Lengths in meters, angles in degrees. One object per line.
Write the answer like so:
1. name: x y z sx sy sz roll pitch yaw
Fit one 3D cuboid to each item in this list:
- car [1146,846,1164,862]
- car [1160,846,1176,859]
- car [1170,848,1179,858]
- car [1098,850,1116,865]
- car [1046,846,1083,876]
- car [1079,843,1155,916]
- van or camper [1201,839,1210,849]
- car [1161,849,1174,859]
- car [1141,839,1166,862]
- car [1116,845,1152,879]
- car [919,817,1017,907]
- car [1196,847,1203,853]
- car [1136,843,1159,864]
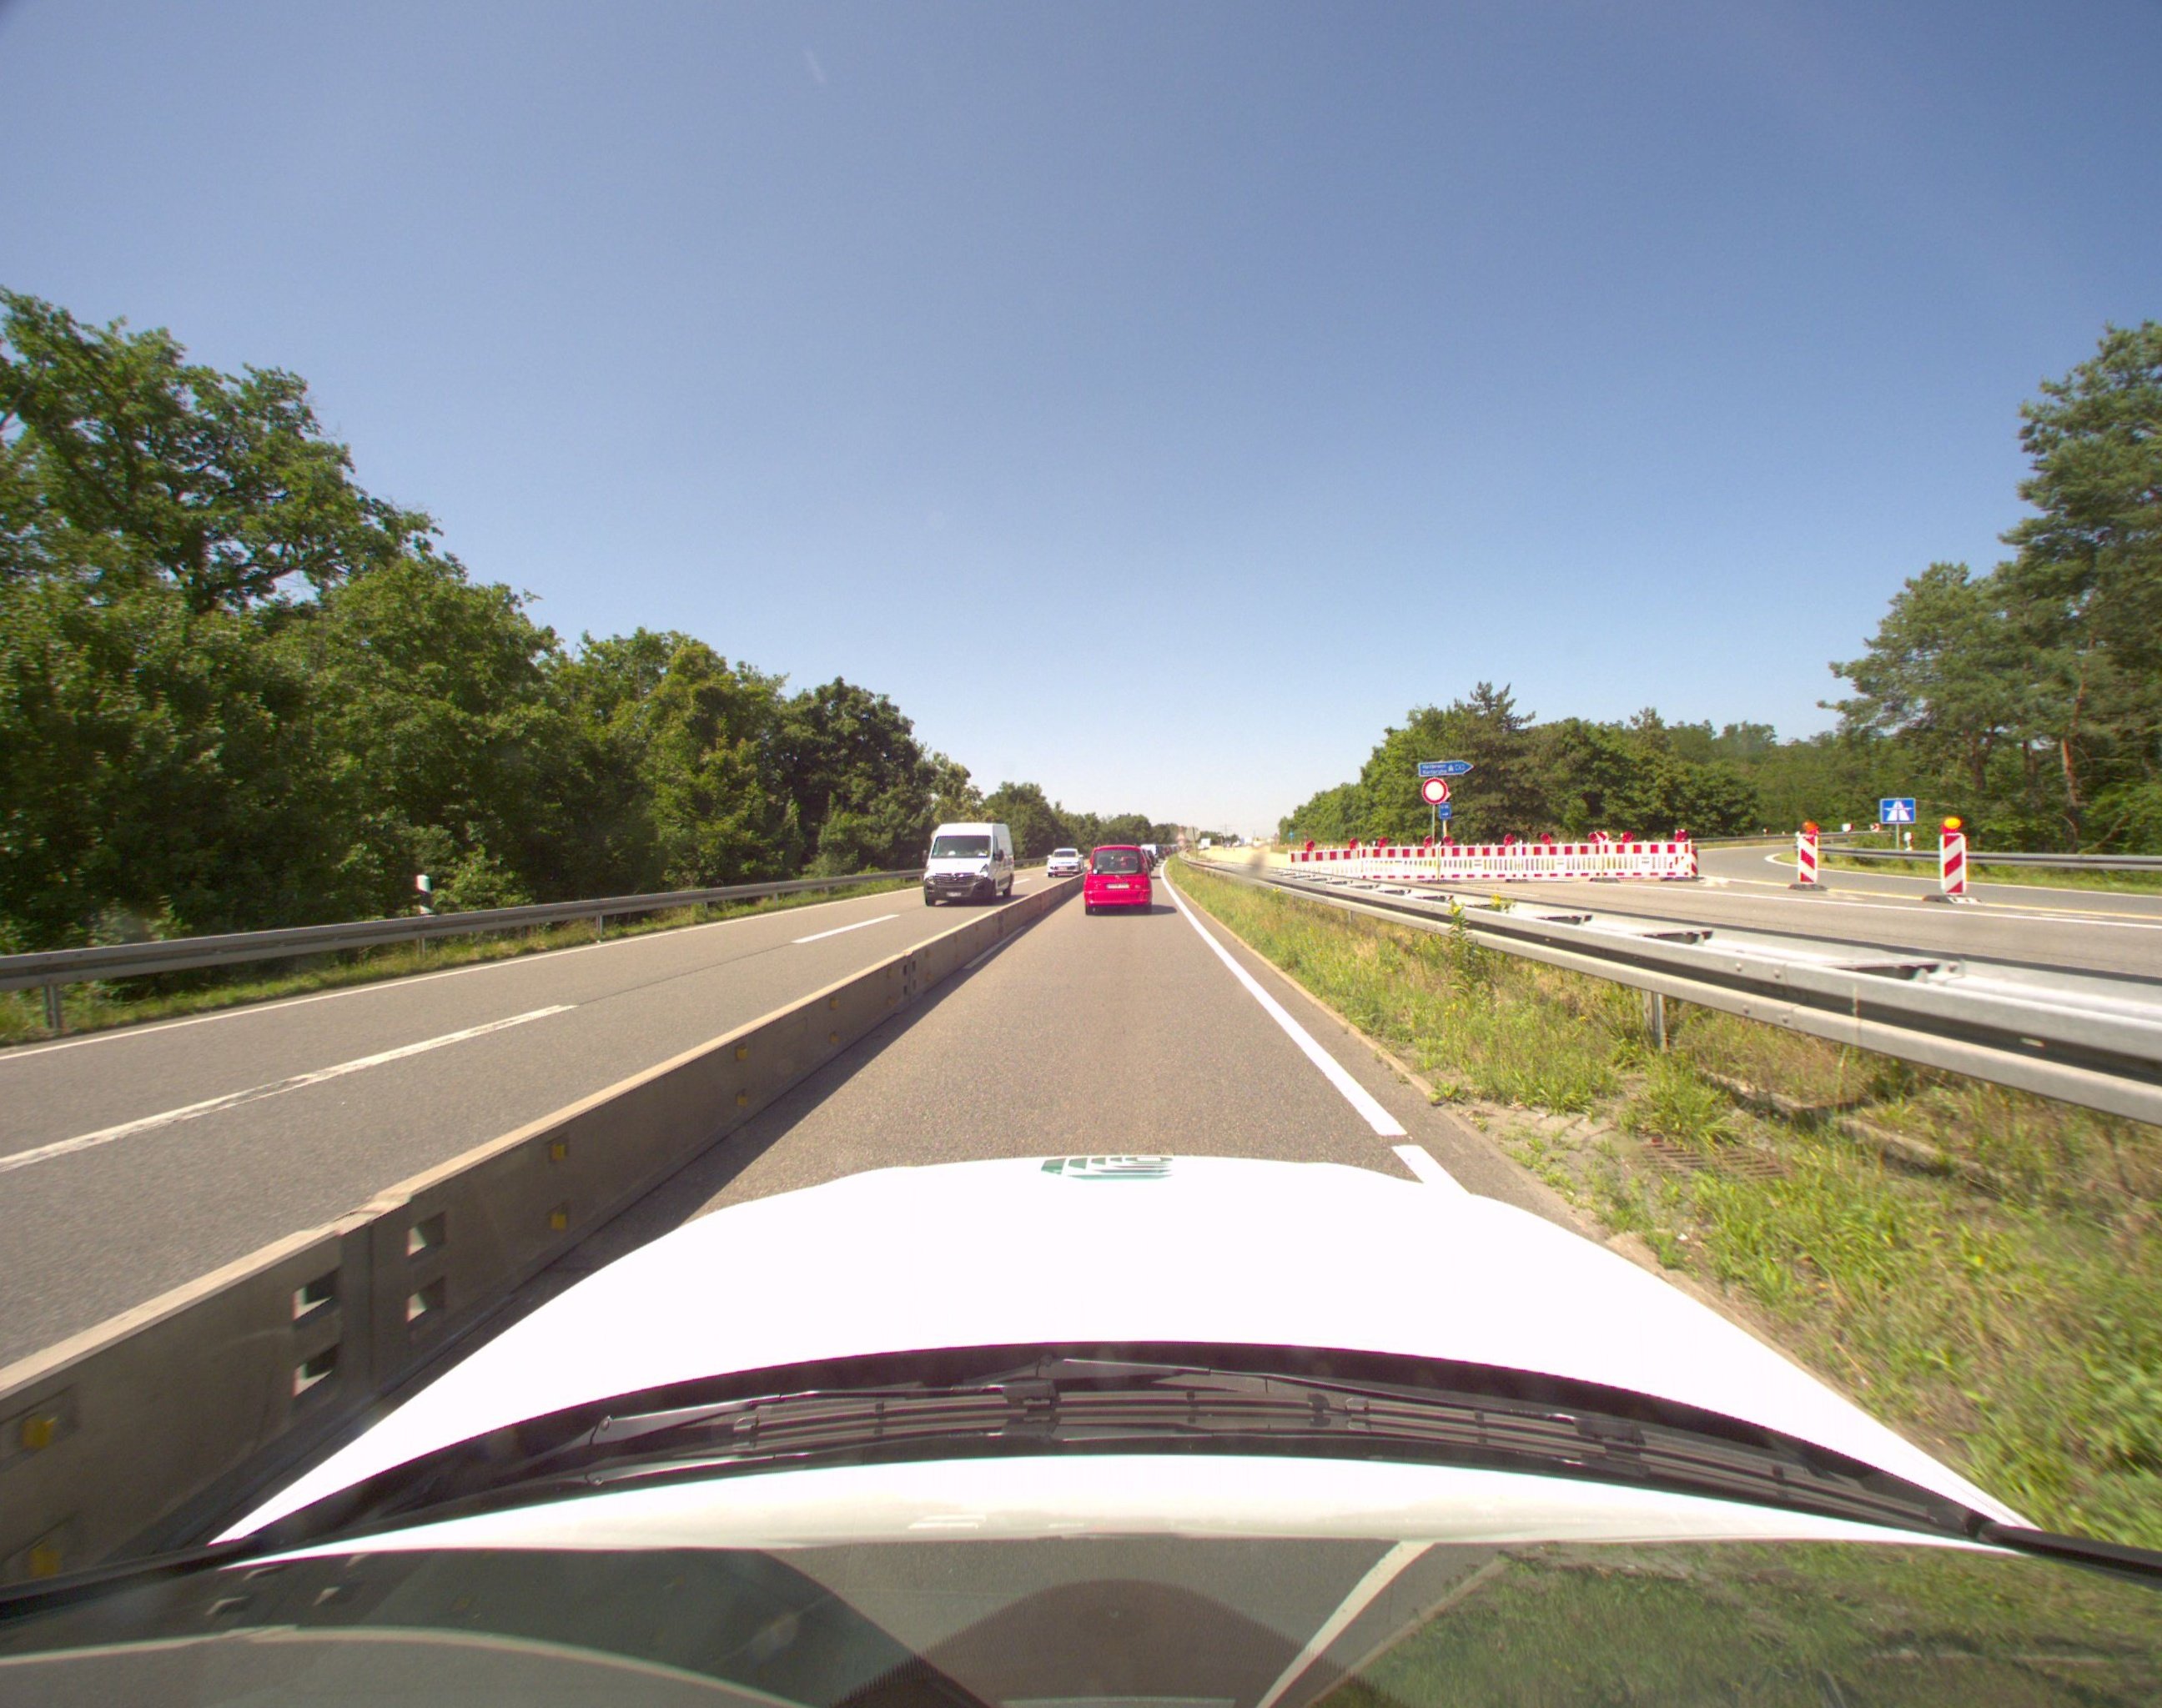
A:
1. car: 8.822 0.012 97.483 1.985 1.750 4.003 -2 0 3
2. car: 12.508 -0.200 116.865 1.985 1.783 4.003 -2 0 3
3. car: 16.414 -0.213 143.054 1.493 1.736 3.178 -1 0 9
4. car: 2.624 0.338 82.465 1.809 1.424 4.110 0 0 2
5. car: -0.897 0.391 47.826 1.841 1.601 4.325 -2 0 3
6. car: 0.977 0.575 21.047 1.744 1.673 4.004 -1 1 4
7. van or camper: 35.532 -2.806 233.038 2.316 2.706 4.601 -2 0 6
8. car: 14.074 -0.044 132.402 1.983 1.585 4.007 -1 0 6
9. car: 6.019 -0.279 67.924 1.985 1.838 4.004 -2 0 4
10. car: 2.803 0.405 43.391 1.822 1.722 4.004 0 0 4
11. car: -3.412 0.216 25.746 2.053 2.485 5.563 -1 0 2
12. car: 32.099 -1.074 220.821 1.983 1.486 4.008 -2 0 7
13. car: 6.601 -0.045 81.482 1.986 2.003 4.001 -2 0 1
